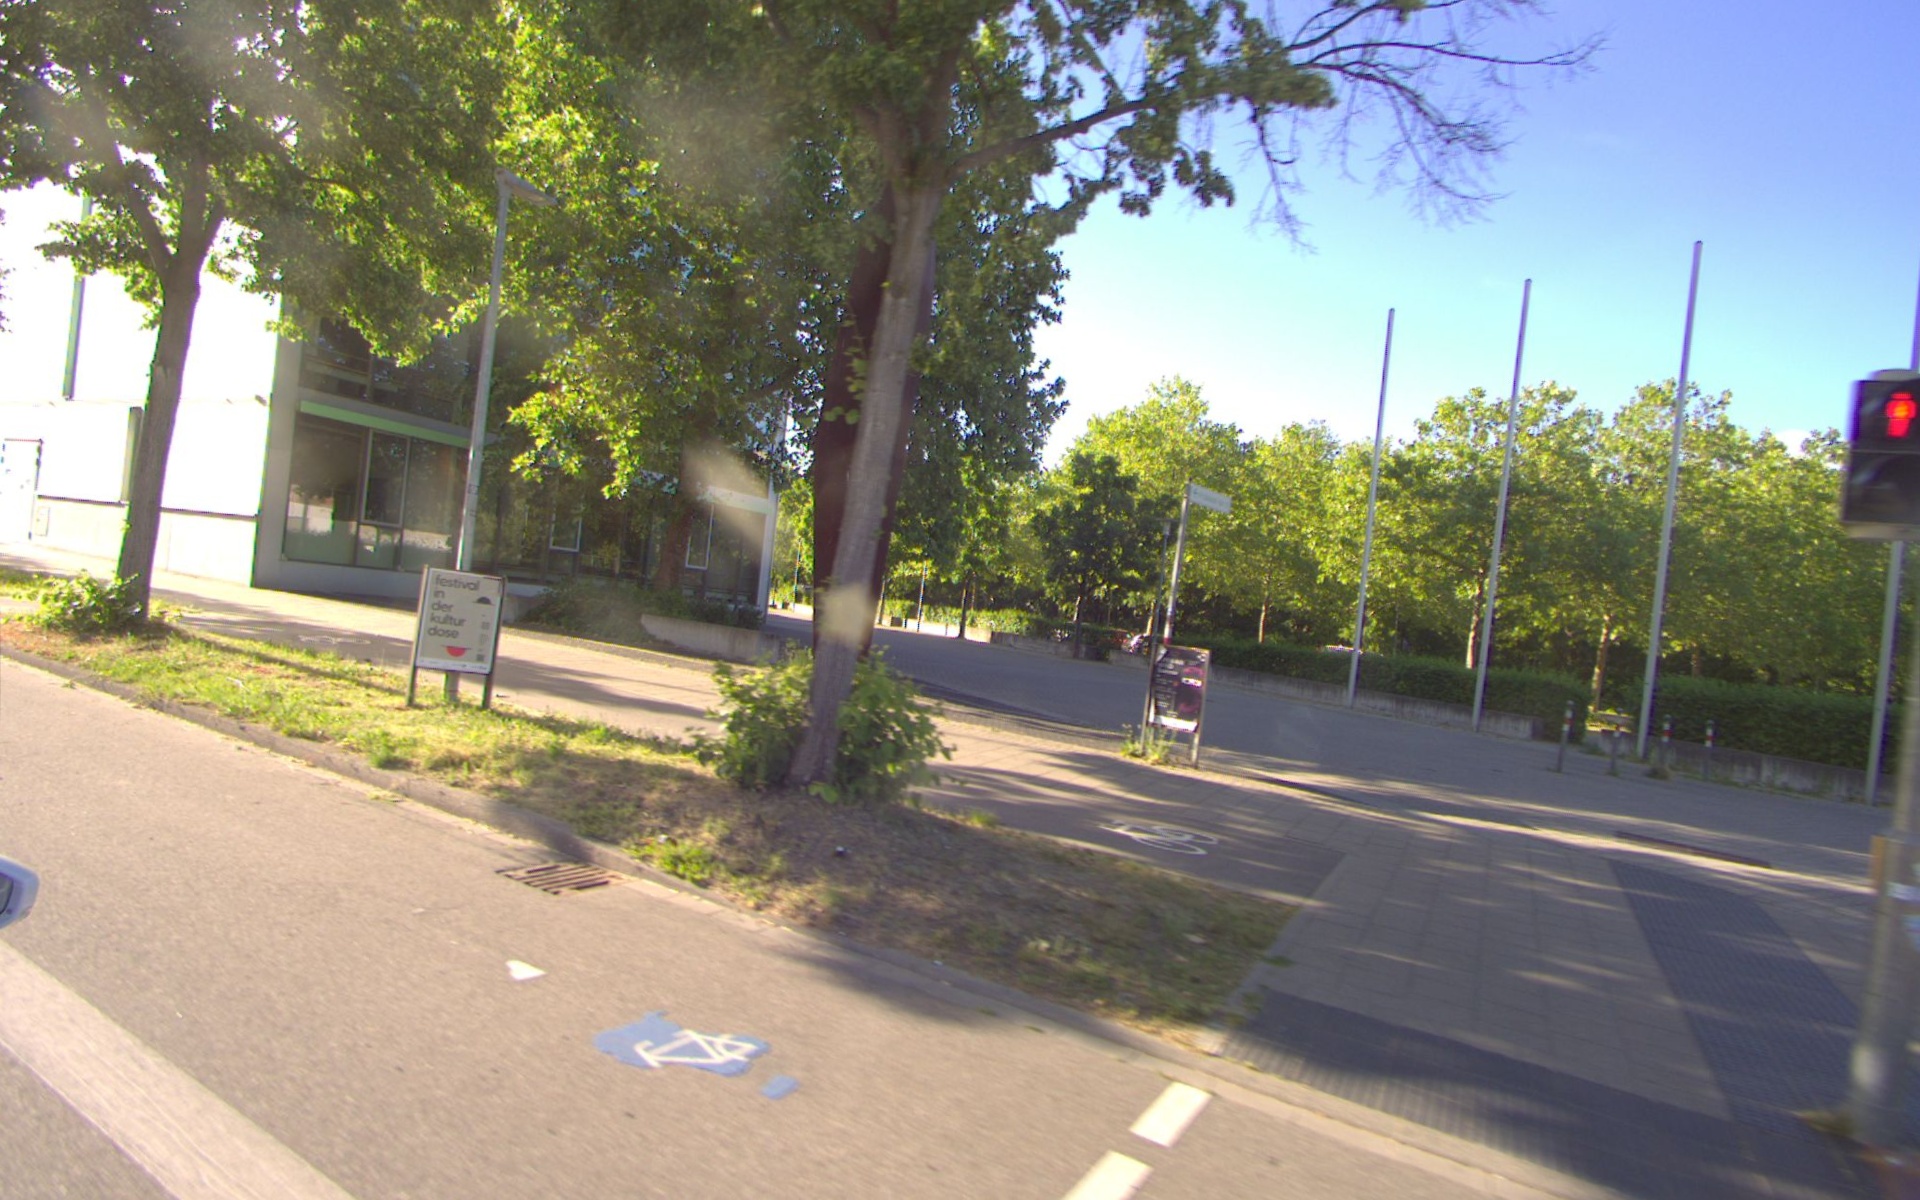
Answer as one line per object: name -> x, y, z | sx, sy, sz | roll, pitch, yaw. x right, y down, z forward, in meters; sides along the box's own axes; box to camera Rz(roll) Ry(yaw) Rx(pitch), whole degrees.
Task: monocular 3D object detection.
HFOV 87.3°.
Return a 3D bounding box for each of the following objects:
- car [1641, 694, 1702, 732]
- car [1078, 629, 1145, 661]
car -> 40.484, 6.433, 57.196 | 3.983, 1.480, 1.975 | 14, -4, -43
car -> 9.645, 2.884, 64.336 | 1.982, 1.482, 3.964 | 9, -2, -34
